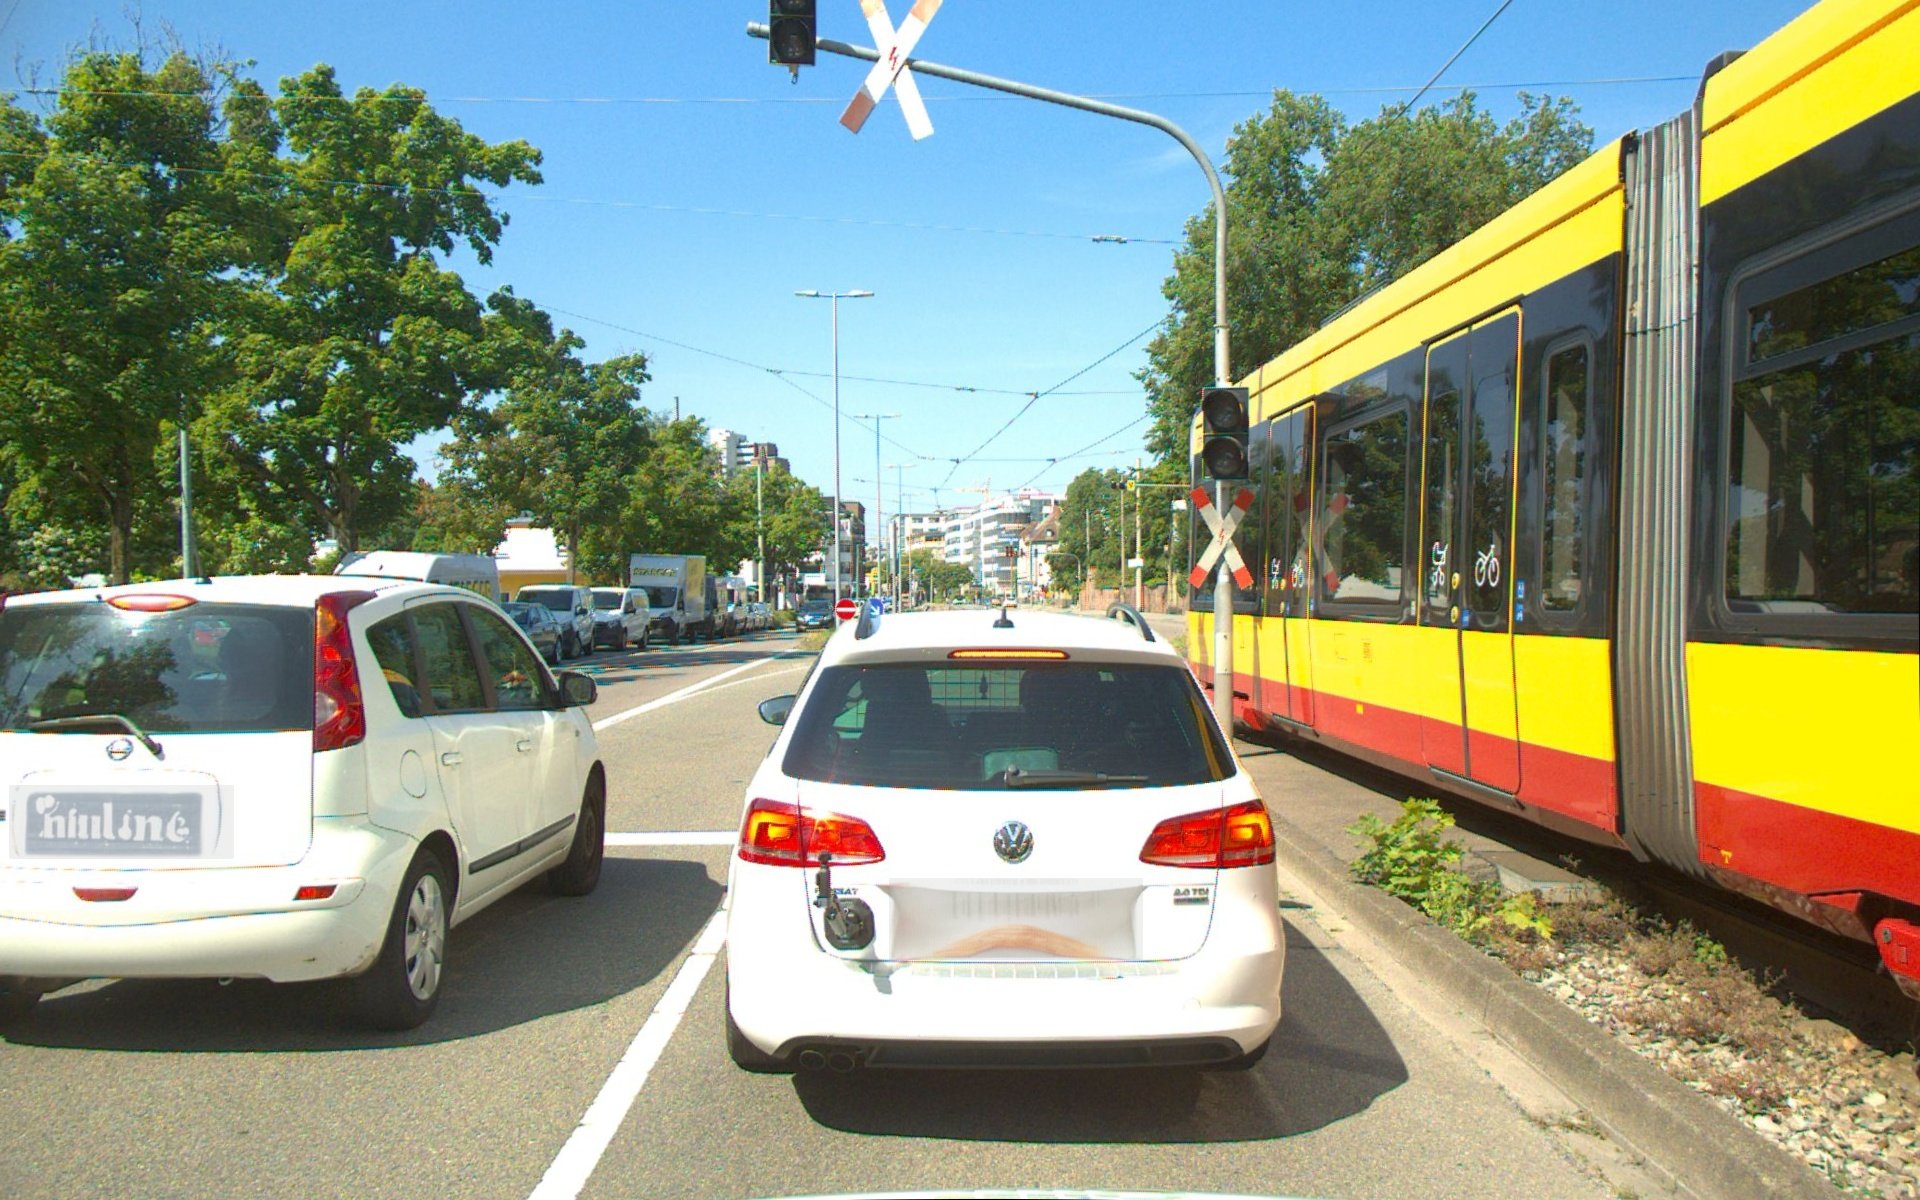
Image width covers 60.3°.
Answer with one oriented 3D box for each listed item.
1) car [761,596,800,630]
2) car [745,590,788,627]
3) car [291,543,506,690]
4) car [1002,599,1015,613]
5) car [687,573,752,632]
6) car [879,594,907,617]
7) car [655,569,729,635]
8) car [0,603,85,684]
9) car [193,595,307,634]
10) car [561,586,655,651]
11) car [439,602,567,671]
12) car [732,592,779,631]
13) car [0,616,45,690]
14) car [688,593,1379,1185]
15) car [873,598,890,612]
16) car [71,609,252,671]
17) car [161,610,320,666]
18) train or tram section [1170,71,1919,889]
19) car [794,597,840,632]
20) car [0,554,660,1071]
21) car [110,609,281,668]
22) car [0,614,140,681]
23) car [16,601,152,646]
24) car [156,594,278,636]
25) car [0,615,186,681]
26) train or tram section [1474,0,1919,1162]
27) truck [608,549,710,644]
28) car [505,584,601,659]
[{"bbox_3d":[-10.656,0.729,98.430,1.826,1.900,5.412,1,0,-1],"label":"car"},{"bbox_3d":[-10.683,0.441,91.514,1.826,1.900,5.412,1,0,-1],"label":"car"},{"bbox_3d":[-10.719,0.283,32.134,2.079,2.560,5.817,1,0,1],"label":"car"},{"bbox_3d":[6.655,0.830,227.833,1.575,1.896,3.730,1,0,-1],"label":"car"},{"bbox_3d":[-10.944,0.112,75.589,2.079,2.560,5.733,1,0,0],"label":"car"},{"bbox_3d":[-4.552,0.349,112.742,1.670,1.499,4.589,-1,0,0],"label":"car"},{"bbox_3d":[-10.969,0.077,68.152,2.079,2.560,5.733,1,0,0],"label":"car"},{"bbox_3d":[-21.051,0.971,35.150,3.909,1.638,1.728,-2,0,-5],"label":"car"},{"bbox_3d":[-34.852,0.695,81.315,4.698,1.819,2.062,1,0,-5],"label":"car"},{"bbox_3d":[-10.932,0.539,51.730,1.826,1.900,5.412,1,0,-1],"label":"car"},{"bbox_3d":[-10.570,0.809,38.536,1.826,1.440,4.278,1,0,-1],"label":"car"},{"bbox_3d":[-10.443,0.536,84.703,1.826,1.900,5.412,1,0,-1],"label":"car"},{"bbox_3d":[-20.706,1.130,32.933,3.909,1.440,1.728,-2,0,-5],"label":"car"},{"bbox_3d":[0.162,0.720,6.201,1.726,1.455,3.999,-1,0,-1],"label":"car"},{"bbox_3d":[-9.402,0.580,198.127,1.670,1.499,4.589,-1,0,0],"label":"car"},{"bbox_3d":[-21.077,1.034,43.772,3.909,1.440,1.728,-2,0,-5],"label":"car"},{"bbox_3d":[-21.243,1.113,48.939,3.909,1.440,1.728,-2,0,-5],"label":"car"},{"bbox_3d":[3.874,-0.624,13.291,2.812,3.923,10.536,-1,0,-1],"label":"train or tram section"},{"bbox_3d":[-6.548,0.628,76.182,1.670,1.499,4.589,-1,0,0],"label":"car"},{"bbox_3d":[-2.564,0.638,7.320,1.628,1.575,4.546,0,0,0],"label":"car"},{"bbox_3d":[-21.256,1.068,46.121,3.909,1.440,1.728,-2,0,-5],"label":"car"},{"bbox_3d":[-21.588,1.124,38.644,3.909,1.440,1.728,-2,0,-5],"label":"car"},{"bbox_3d":[-37.770,0.998,71.393,4.698,1.819,2.062,1,0,-5],"label":"car"},{"bbox_3d":[-34.332,0.683,76.513,4.698,1.819,2.062,1,0,-5],"label":"car"},{"bbox_3d":[-21.703,1.177,41.252,3.909,1.440,1.728,-2,0,-5],"label":"car"},{"bbox_3d":[4.027,-0.443,1.855,2.812,3.923,12.389,-1,0,-1],"label":"train or tram section"},{"bbox_3d":[-10.832,-0.141,60.155,2.371,3.205,6.996,1,0,0],"label":"truck"},{"bbox_3d":[-11.032,0.539,45.135,1.827,1.900,5.068,1,0,-6],"label":"car"}]
